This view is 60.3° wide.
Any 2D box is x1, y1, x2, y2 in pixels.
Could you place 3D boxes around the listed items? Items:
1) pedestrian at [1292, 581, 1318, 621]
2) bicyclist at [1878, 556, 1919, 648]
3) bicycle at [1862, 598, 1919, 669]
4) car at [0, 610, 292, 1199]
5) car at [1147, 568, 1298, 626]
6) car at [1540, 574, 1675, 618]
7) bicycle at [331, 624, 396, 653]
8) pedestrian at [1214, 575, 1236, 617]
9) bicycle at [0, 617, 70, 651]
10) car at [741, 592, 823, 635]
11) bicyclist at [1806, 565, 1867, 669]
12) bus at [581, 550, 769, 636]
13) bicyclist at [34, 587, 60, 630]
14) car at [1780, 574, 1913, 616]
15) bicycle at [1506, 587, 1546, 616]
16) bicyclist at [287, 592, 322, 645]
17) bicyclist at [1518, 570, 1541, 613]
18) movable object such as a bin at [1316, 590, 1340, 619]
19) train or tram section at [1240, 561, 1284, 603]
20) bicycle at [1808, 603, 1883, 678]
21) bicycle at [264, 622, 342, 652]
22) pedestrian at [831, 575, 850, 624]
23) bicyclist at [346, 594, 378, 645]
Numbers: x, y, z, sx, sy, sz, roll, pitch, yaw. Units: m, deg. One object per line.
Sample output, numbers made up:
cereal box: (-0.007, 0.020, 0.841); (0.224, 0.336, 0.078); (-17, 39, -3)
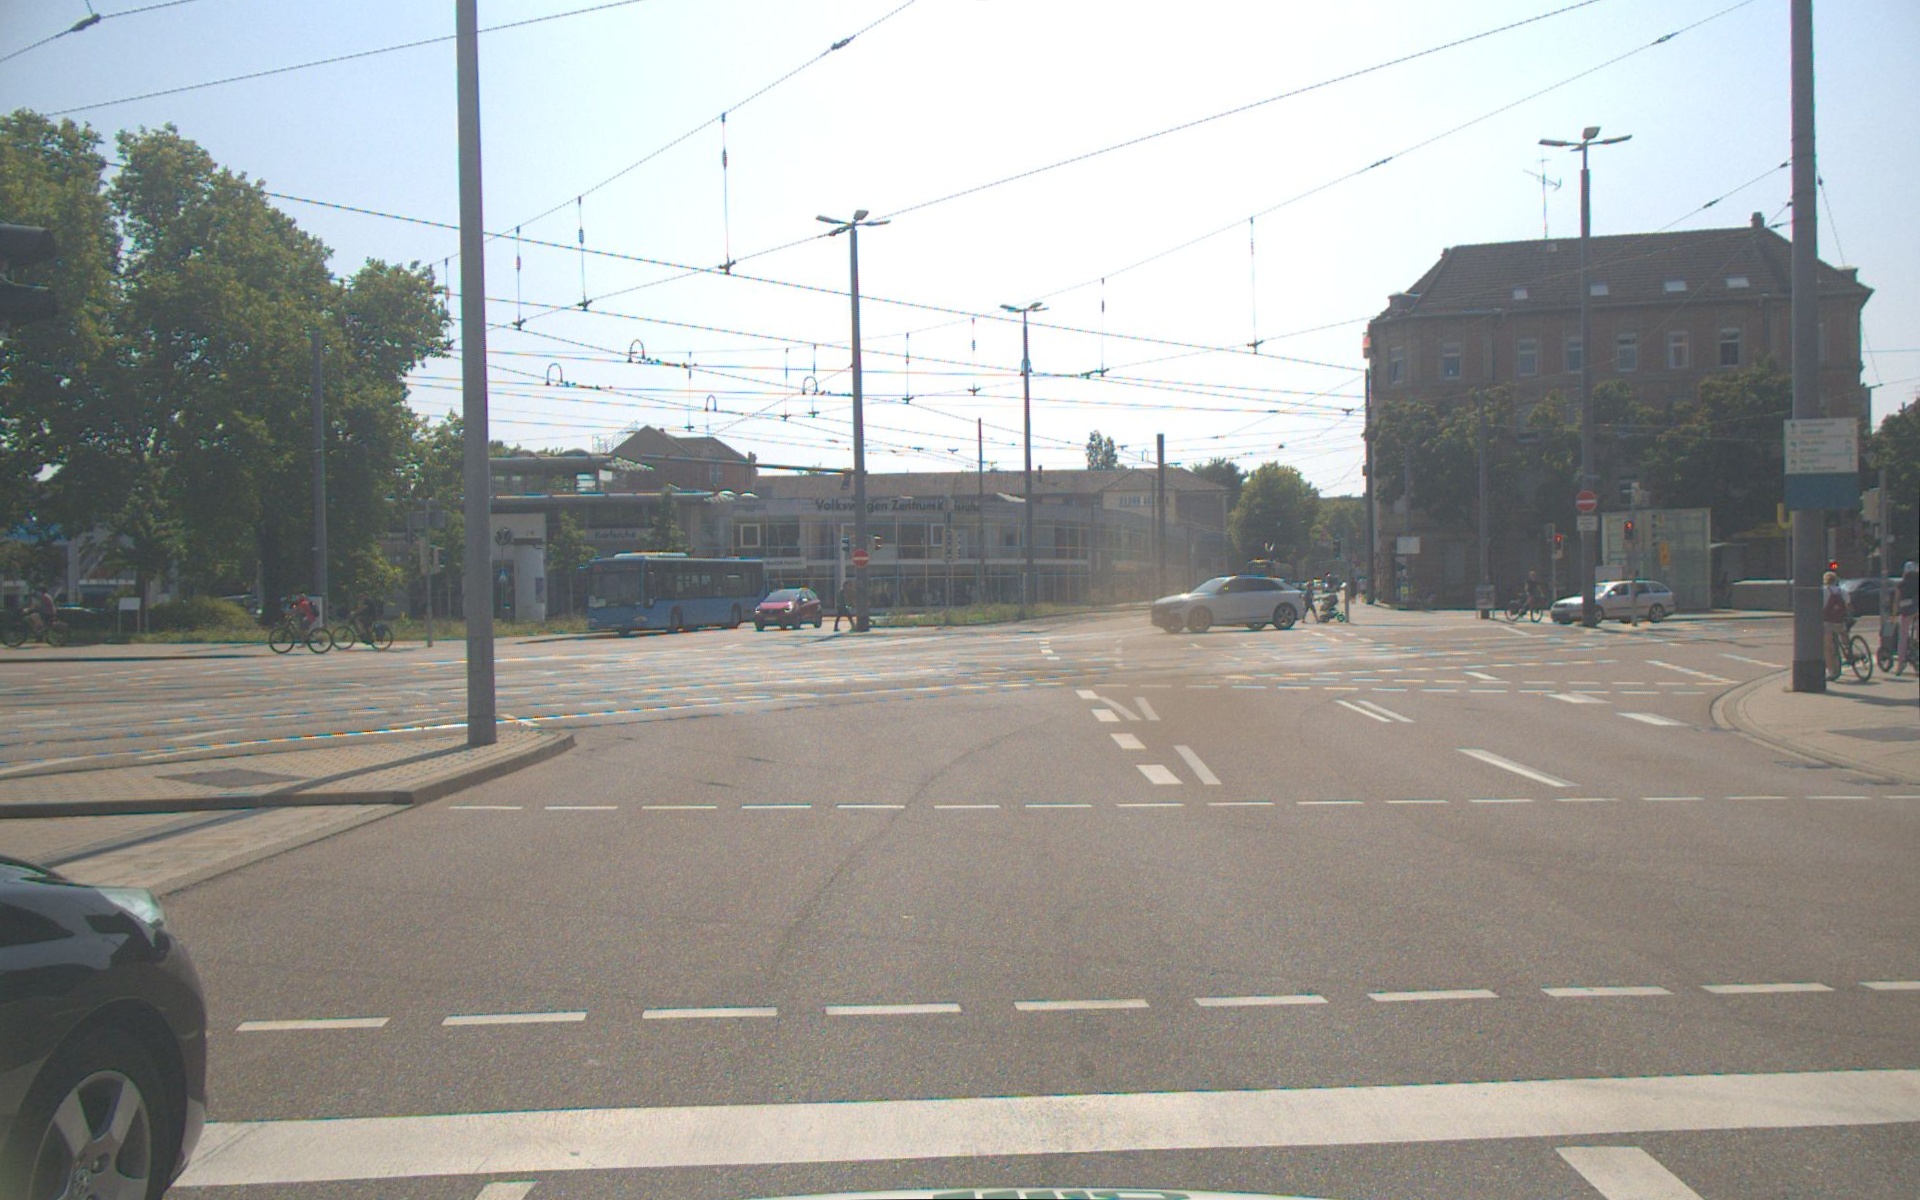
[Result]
pedestrian: (13.524, 0.037, 64.779); (0.834, 1.572, 0.528); (-1, 0, -9)
bicyclist: (14.800, 0.022, 25.859); (0.519, 1.417, 0.894); (-1, 0, 11)
bicycle: (14.876, 0.519, 26.233); (0.525, 1.073, 1.655); (-1, 0, 11)
car: (-2.560, 0.738, 2.083); (1.728, 1.412, 3.783); (1, 0, 3)
car: (8.055, -0.102, 50.789); (4.258, 1.646, 1.744); (-1, 0, -20)
car: (22.354, -0.142, 57.157); (4.105, 1.440, 1.769); (-1, 0, -15)
bicycle: (-18.144, 1.179, 50.359); (1.828, 0.816, 0.604); (-1, 0, -19)
pedestrian: (10.391, -0.172, 64.905); (0.687, 1.631, 0.572); (-1, 0, -8)
bicycle: (-28.160, 1.033, 50.373); (1.783, 0.958, 0.414); (-1, 0, -14)
car: (-6.867, 0.515, 64.114); (1.713, 1.579, 4.002); (-1, 0, 17)
bicyclist: (13.239, 0.246, 24.985); (0.614, 1.544, 0.712); (-1, 0, 11)
bus: (-11.269, -0.317, 67.232); (2.508, 3.136, 12.031); (-1, 0, 16)
bicyclist: (-27.817, 0.255, 50.380); (0.535, 1.316, 0.557); (-1, 0, -12)
car: (33.141, -0.192, 61.836); (4.684, 1.440, 1.765); (-1, 0, -21)
bicycle: (21.075, 0.053, 61.588); (0.462, 1.073, 1.643); (-1, 0, -21)
bicyclist: (-18.819, 0.528, 47.487); (0.856, 1.509, 0.496); (-1, 0, -13)
bicyclist: (21.149, -0.312, 61.415); (0.604, 1.555, 0.517); (-1, 0, -25)
movable object such as a bin: (14.392, 0.165, 64.696); (0.798, 1.096, 0.510); (-1, 0, -12)
train or tram section: (27.620, -1.637, 150.899); (2.534, 3.578, 10.904); (-1, 0, 18)
bicycle: (13.250, 0.589, 24.792); (0.525, 1.073, 1.655); (-1, 0, 11)
bicycle: (-18.847, 1.055, 47.495); (2.013, 0.816, 0.478); (-1, 0, -14)
pedestrian: (-4.216, -0.019, 58.482); (0.544, 1.713, 0.451); (-1, 0, -19)
bicyclist: (-18.195, 0.587, 50.347); (0.858, 1.501, 0.543); (-1, 0, -19)
